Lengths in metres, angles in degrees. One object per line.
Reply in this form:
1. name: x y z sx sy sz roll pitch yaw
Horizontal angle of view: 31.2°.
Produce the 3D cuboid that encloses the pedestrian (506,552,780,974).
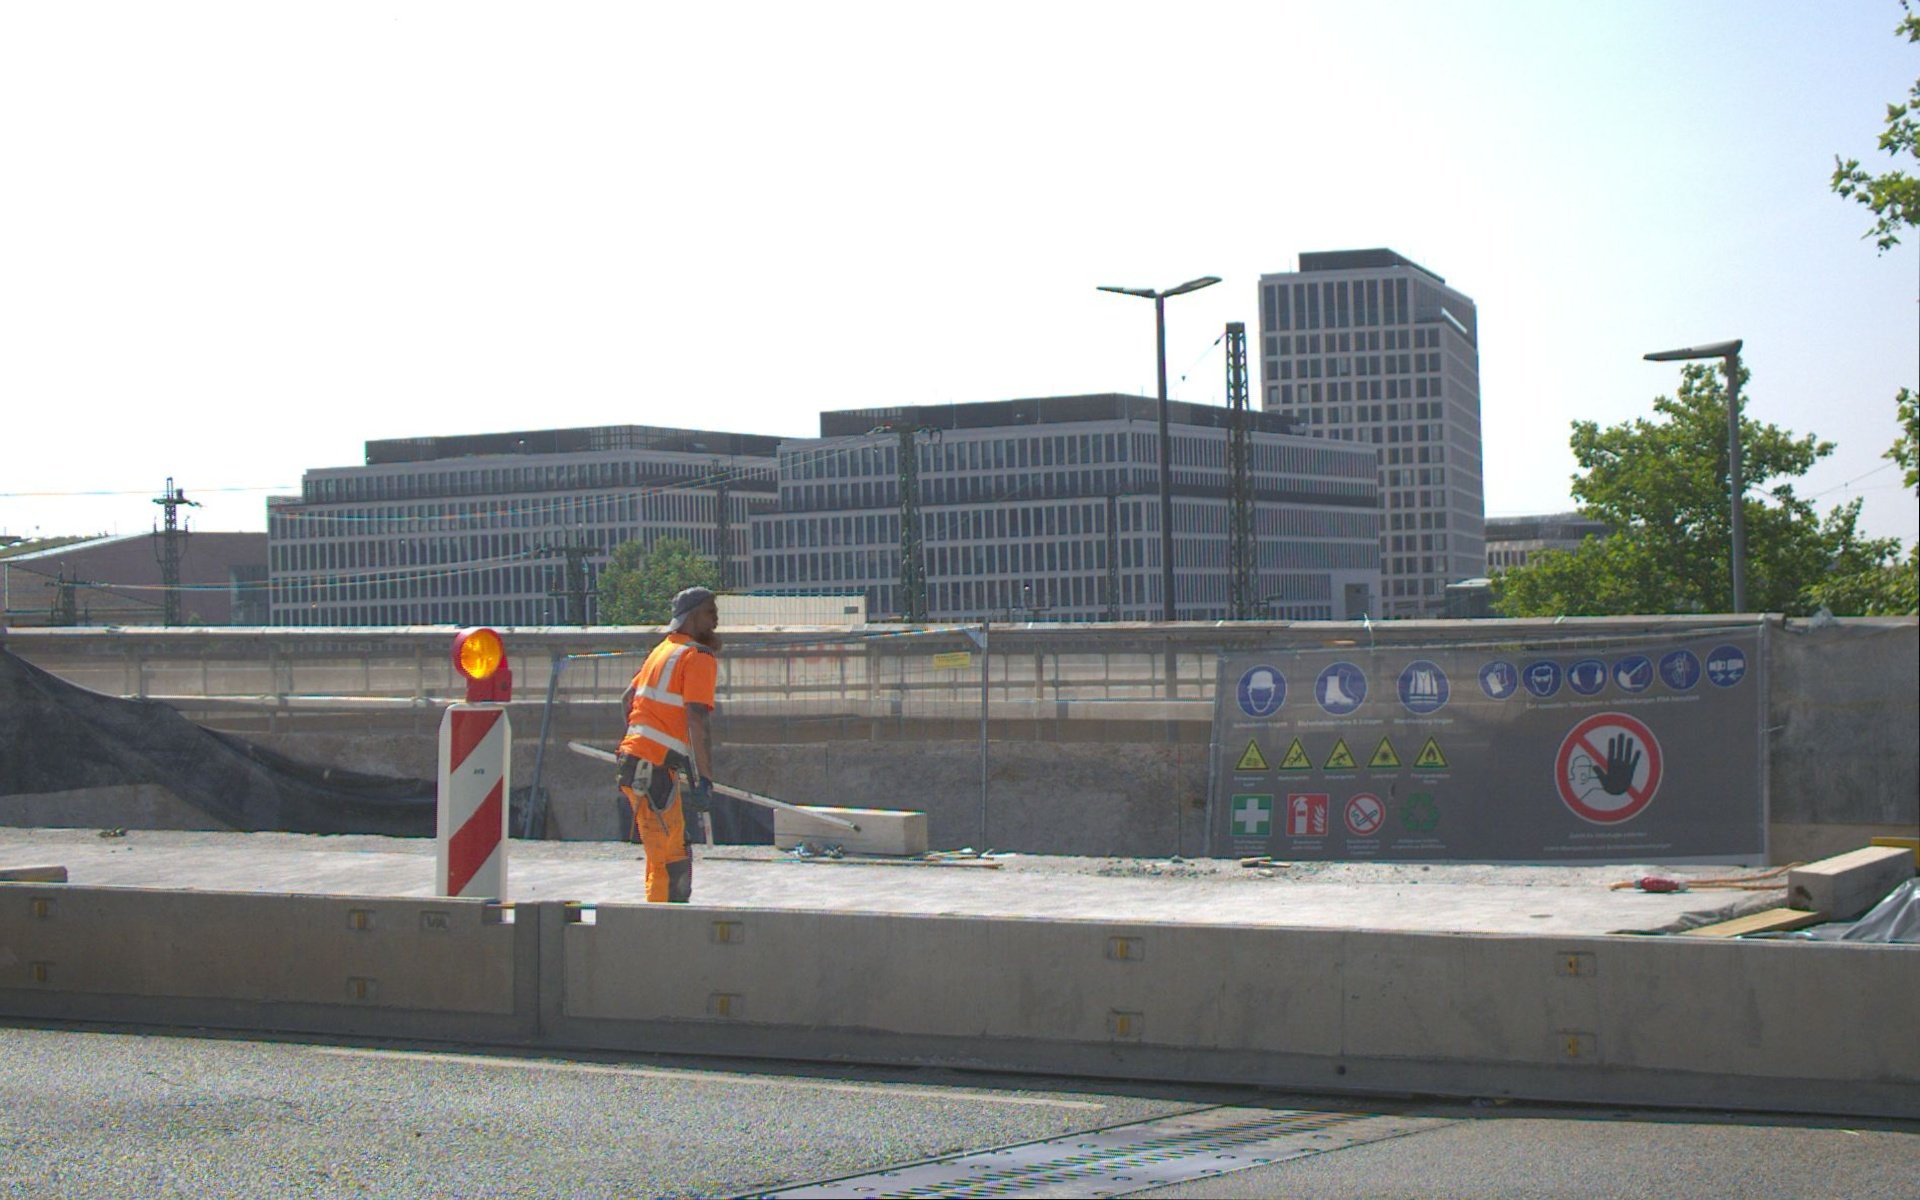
1. pedestrian: -1.398 0.698 15.259 0.820 1.789 0.863 -1 1 28
